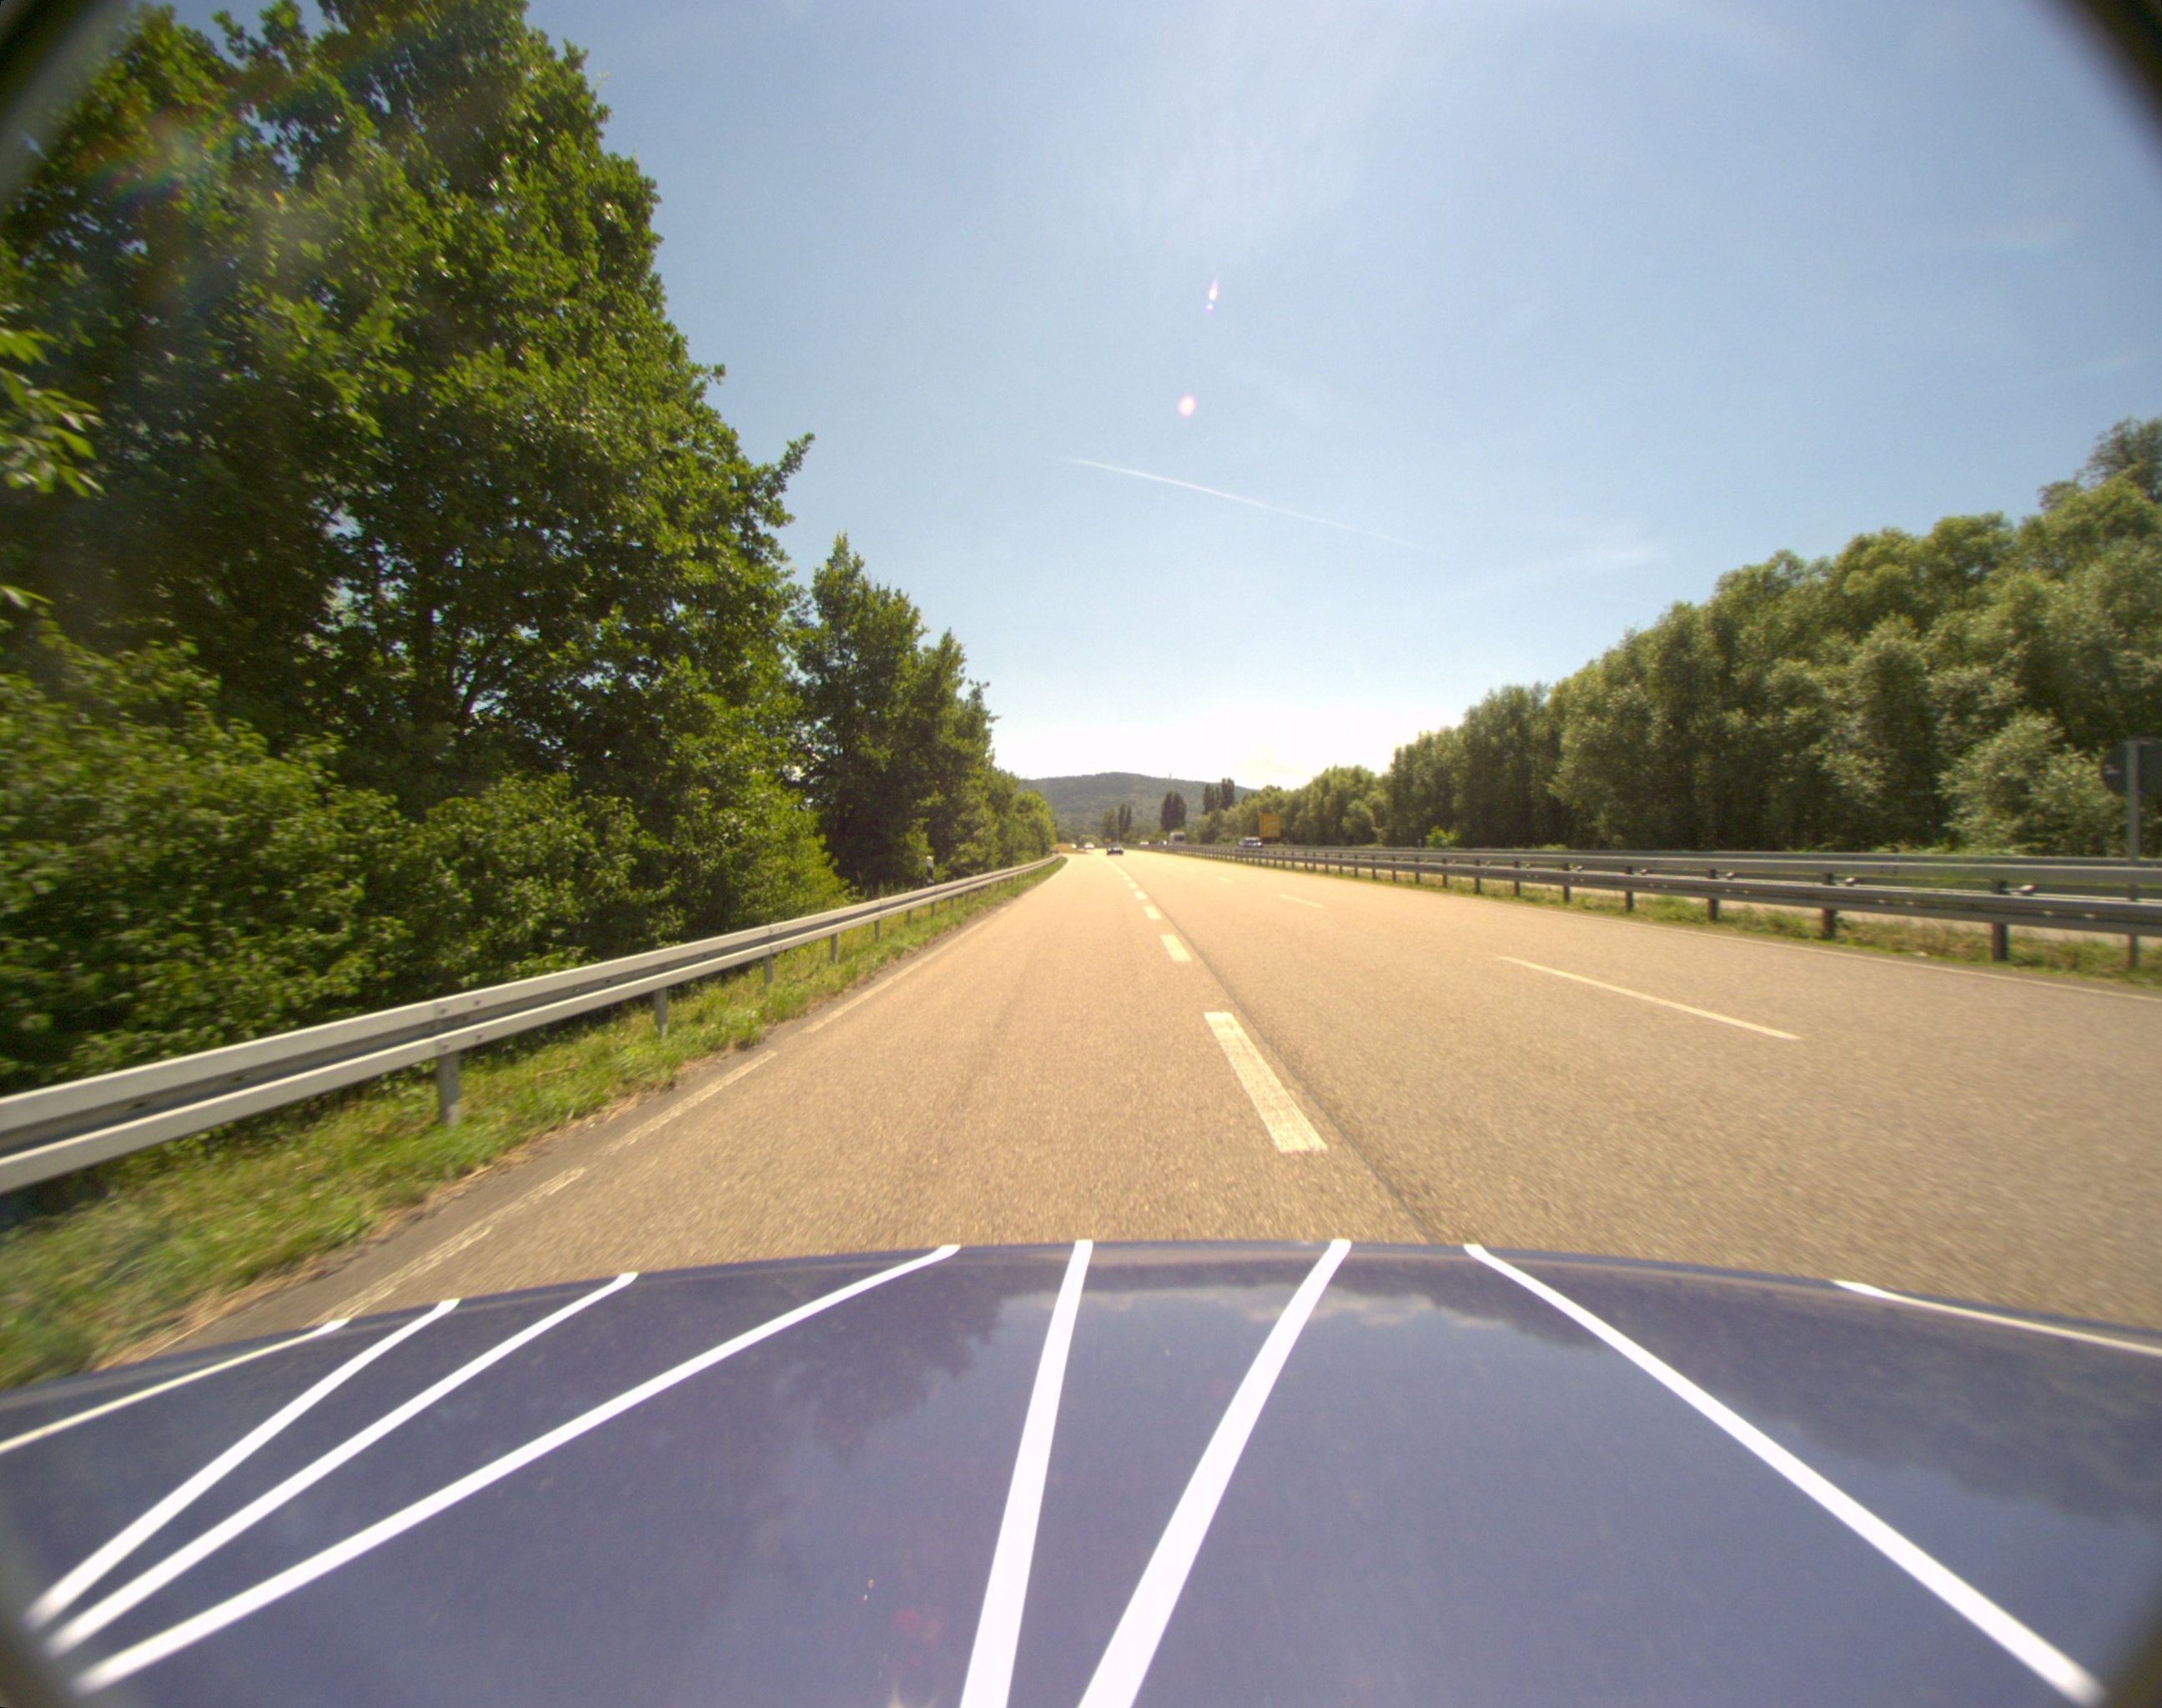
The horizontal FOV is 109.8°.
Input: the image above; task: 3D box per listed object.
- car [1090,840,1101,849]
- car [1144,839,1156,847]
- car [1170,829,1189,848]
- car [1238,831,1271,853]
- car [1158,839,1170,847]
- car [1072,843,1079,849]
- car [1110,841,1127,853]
[{"bbox_3d":[2.985,-1.975,157.361,1.998,1.630,4.001,-1,0,3],"label":"car"},{"bbox_3d":[13.757,-2.121,151.347,1.923,1.481,3.998,-2,1,-2],"label":"car"},{"bbox_3d":[14.437,-2.268,111.787,2.107,2.668,6.626,-2,1,1],"label":"car"},{"bbox_3d":[15.091,-1.054,66.463,1.867,1.820,4.659,-2,1,1],"label":"car"},{"bbox_3d":[16.466,-2.214,150.745,1.693,1.543,4.072,-2,1,-3],"label":"car"},{"bbox_3d":[-1.573,-2.433,228.702,1.658,1.536,3.691,-2,1,5],"label":"car"},{"bbox_3d":[4.642,-0.862,94.190,1.908,1.368,3.890,-2,1,0],"label":"car"}]
